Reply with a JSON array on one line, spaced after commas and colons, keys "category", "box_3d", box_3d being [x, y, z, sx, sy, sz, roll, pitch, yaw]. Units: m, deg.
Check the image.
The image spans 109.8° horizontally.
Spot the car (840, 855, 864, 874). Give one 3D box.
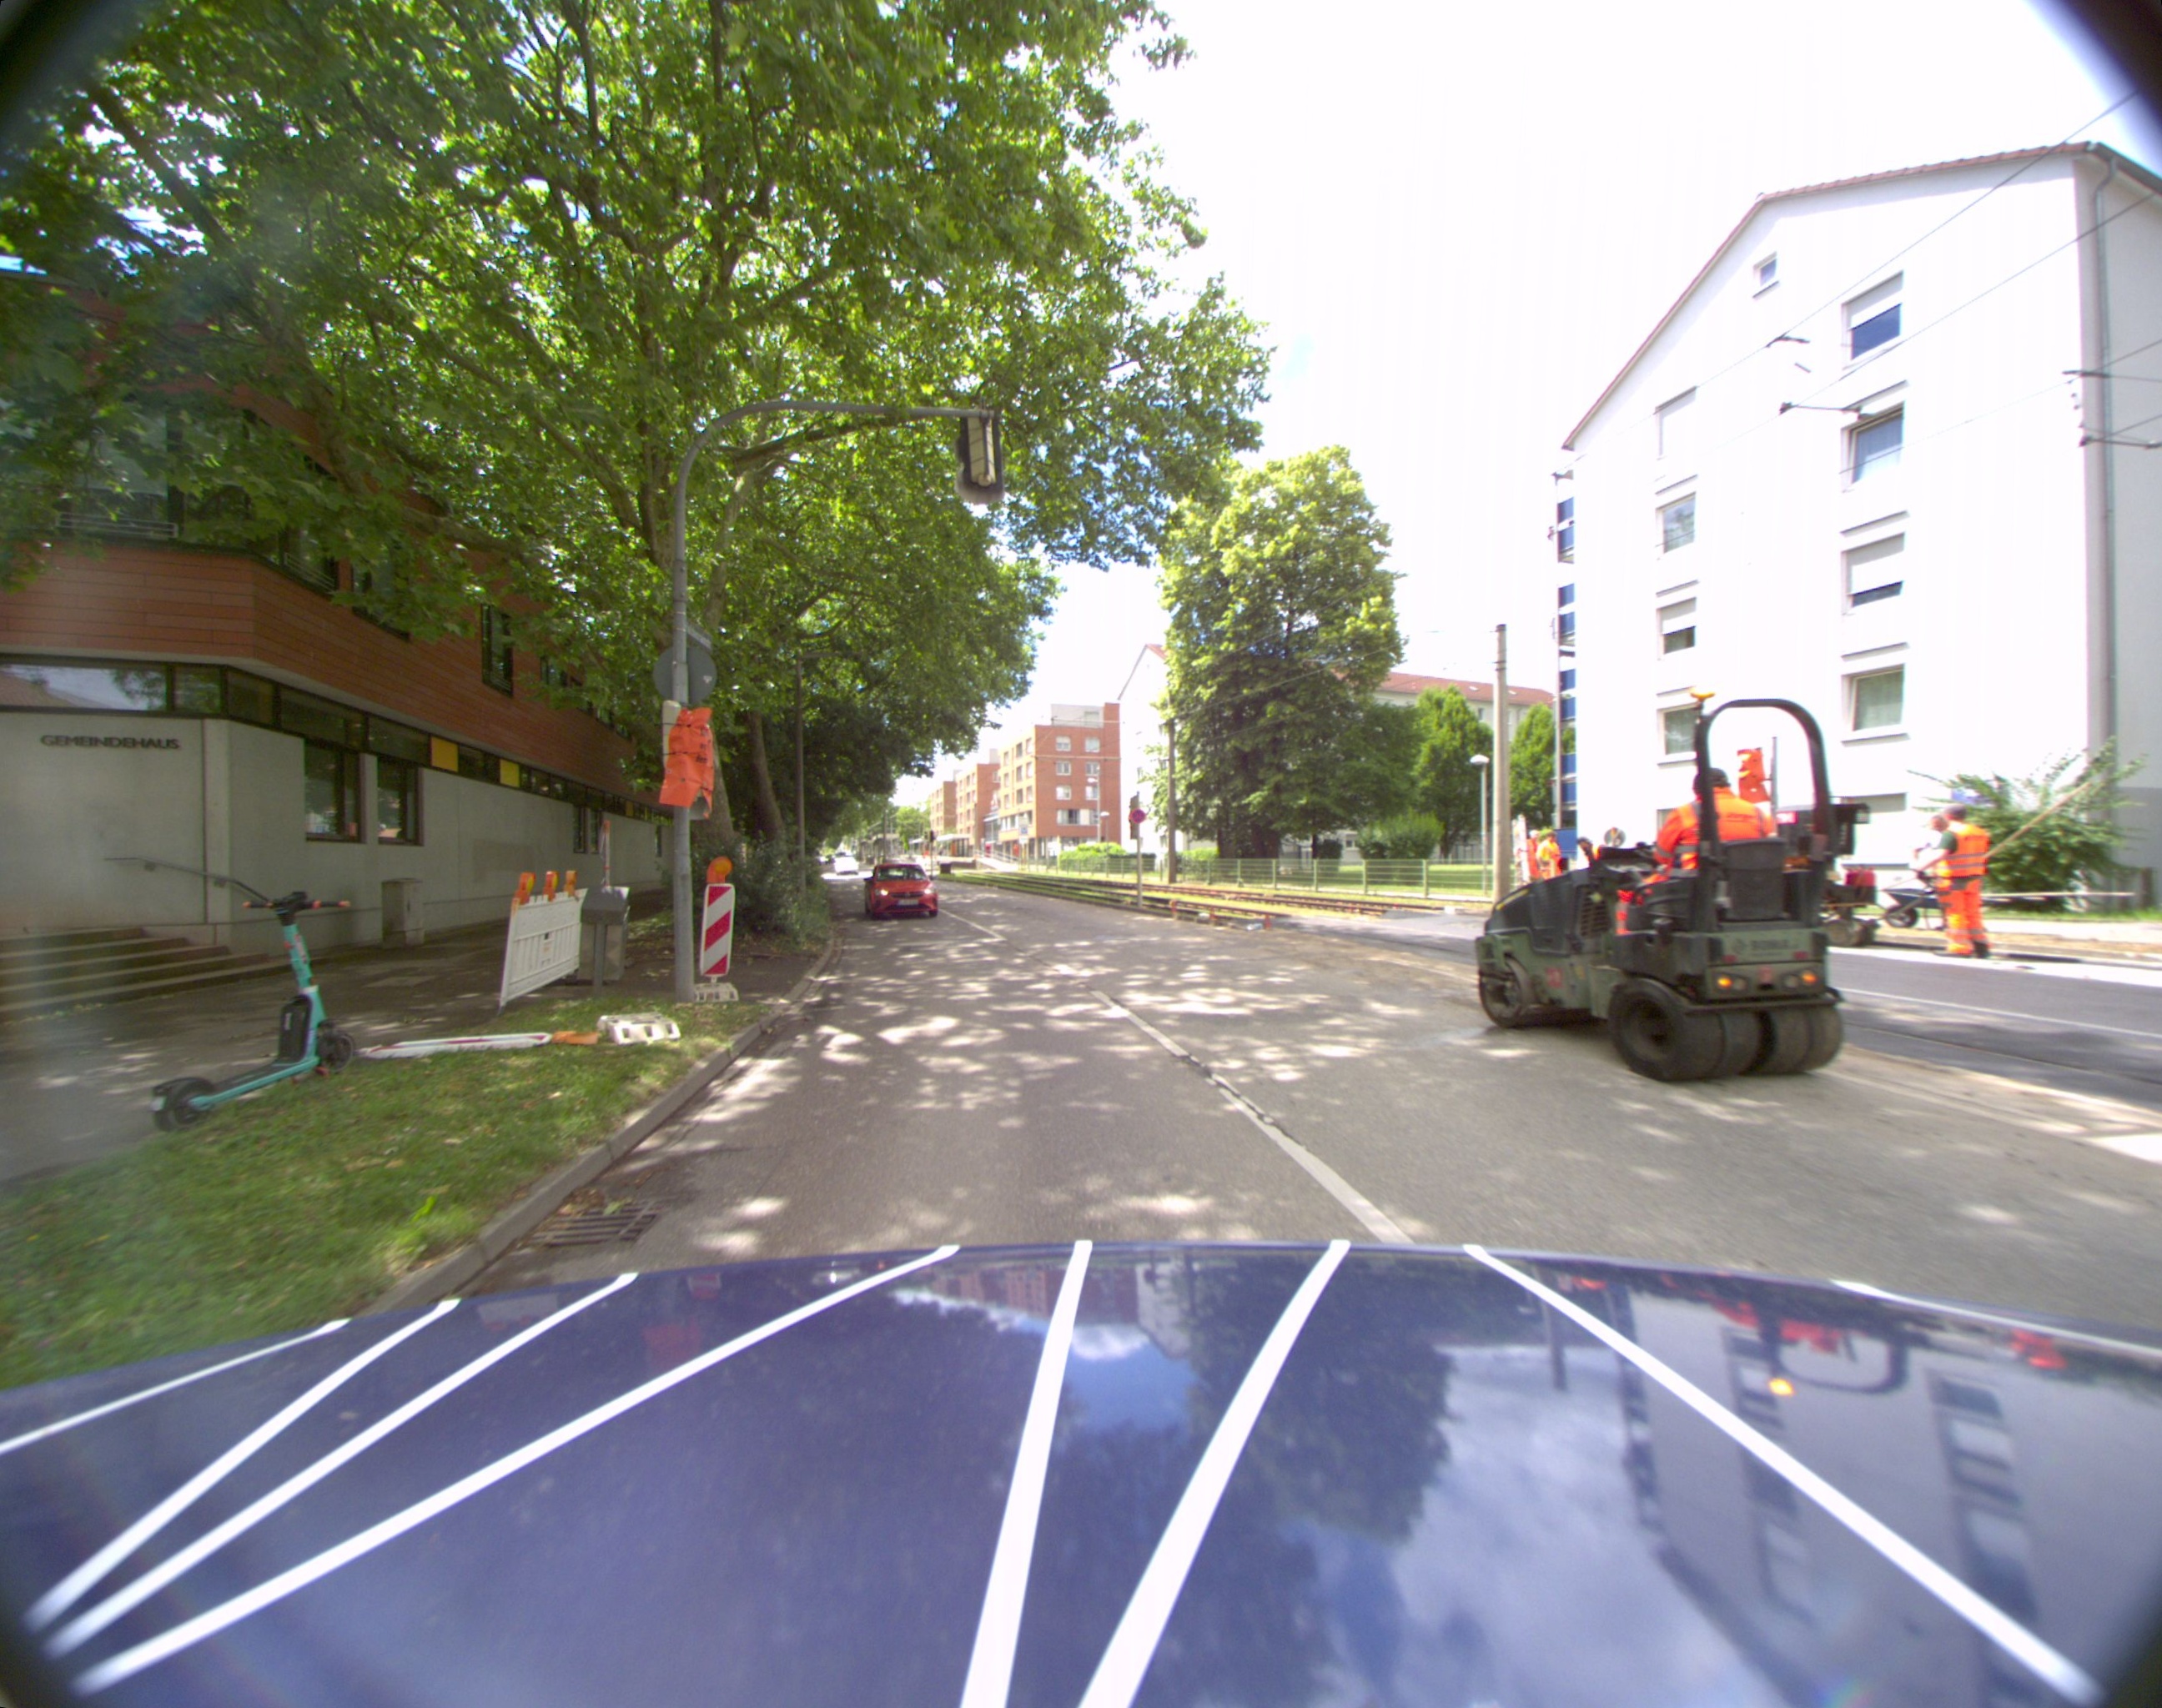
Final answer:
[{"category": "car", "box_3d": [-18.618, 0.814, 61.765, 1.772, 1.405, 4.231, -2, 0, -18]}]

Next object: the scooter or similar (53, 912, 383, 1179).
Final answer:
[{"category": "scooter or similar", "box_3d": [-4.873, 1.005, 4.415, 0.566, 1.225, 1.194, 0, 1, -5]}]

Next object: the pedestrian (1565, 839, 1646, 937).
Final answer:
[{"category": "pedestrian", "box_3d": [9.536, 0.604, 13.853, 0.753, 1.706, 0.918, -1, 0, -13]}]

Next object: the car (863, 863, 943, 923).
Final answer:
[{"category": "car", "box_3d": [-4.998, 1.014, 20.971, 1.772, 1.425, 3.833, -2, -1, -18]}]

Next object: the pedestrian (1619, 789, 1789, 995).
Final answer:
[{"category": "pedestrian", "box_3d": [3.900, 0.222, 4.791, 0.551, 1.209, 0.617, -1, 0, -8]}]

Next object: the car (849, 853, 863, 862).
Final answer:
[{"category": "car", "box_3d": [-37.083, 0.572, 125.039, 2.002, 1.346, 3.766, 2, 0, -19]}]

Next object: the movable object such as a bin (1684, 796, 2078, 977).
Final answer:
[{"category": "movable object such as a bin", "box_3d": [10.214, 0.365, 10.019, 2.000, 2.002, 2.965, 0, 0, -9]}]

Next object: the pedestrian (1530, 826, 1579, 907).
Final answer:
[{"category": "pedestrian", "box_3d": [11.387, 0.295, 18.273, 0.878, 1.897, 0.668, -1, 1, 42]}]

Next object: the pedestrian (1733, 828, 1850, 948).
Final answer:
[{"category": "pedestrian", "box_3d": [10.665, 0.496, 11.439, 0.859, 1.706, 0.918, -1, 0, -8]}]

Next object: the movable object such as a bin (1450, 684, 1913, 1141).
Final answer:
[{"category": "movable object such as a bin", "box_3d": [4.050, 0.326, 5.538, 1.321, 2.578, 2.361, -1, 0, -7]}]

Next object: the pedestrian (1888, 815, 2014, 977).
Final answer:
[{"category": "pedestrian", "box_3d": [10.381, 0.474, 9.081, 0.784, 1.828, 0.767, 0, 0, -21]}]

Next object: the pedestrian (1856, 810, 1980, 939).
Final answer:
[{"category": "pedestrian", "box_3d": [12.380, 0.292, 11.260, 1.097, 1.813, 0.872, 0, 0, -19]}]

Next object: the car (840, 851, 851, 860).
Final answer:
[{"category": "car", "box_3d": [-47.674, 0.281, 153.787, 2.002, 1.805, 3.994, 1, 0, -17]}]

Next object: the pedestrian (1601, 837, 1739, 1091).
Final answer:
[{"category": "pedestrian", "box_3d": [4.156, 0.735, 5.387, 0.470, 1.672, 0.558, -3, 1, -15]}]

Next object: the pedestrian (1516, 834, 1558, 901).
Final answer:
[{"category": "pedestrian", "box_3d": [11.748, 0.348, 19.592, 0.878, 1.673, 0.668, -1, 1, 29]}]
